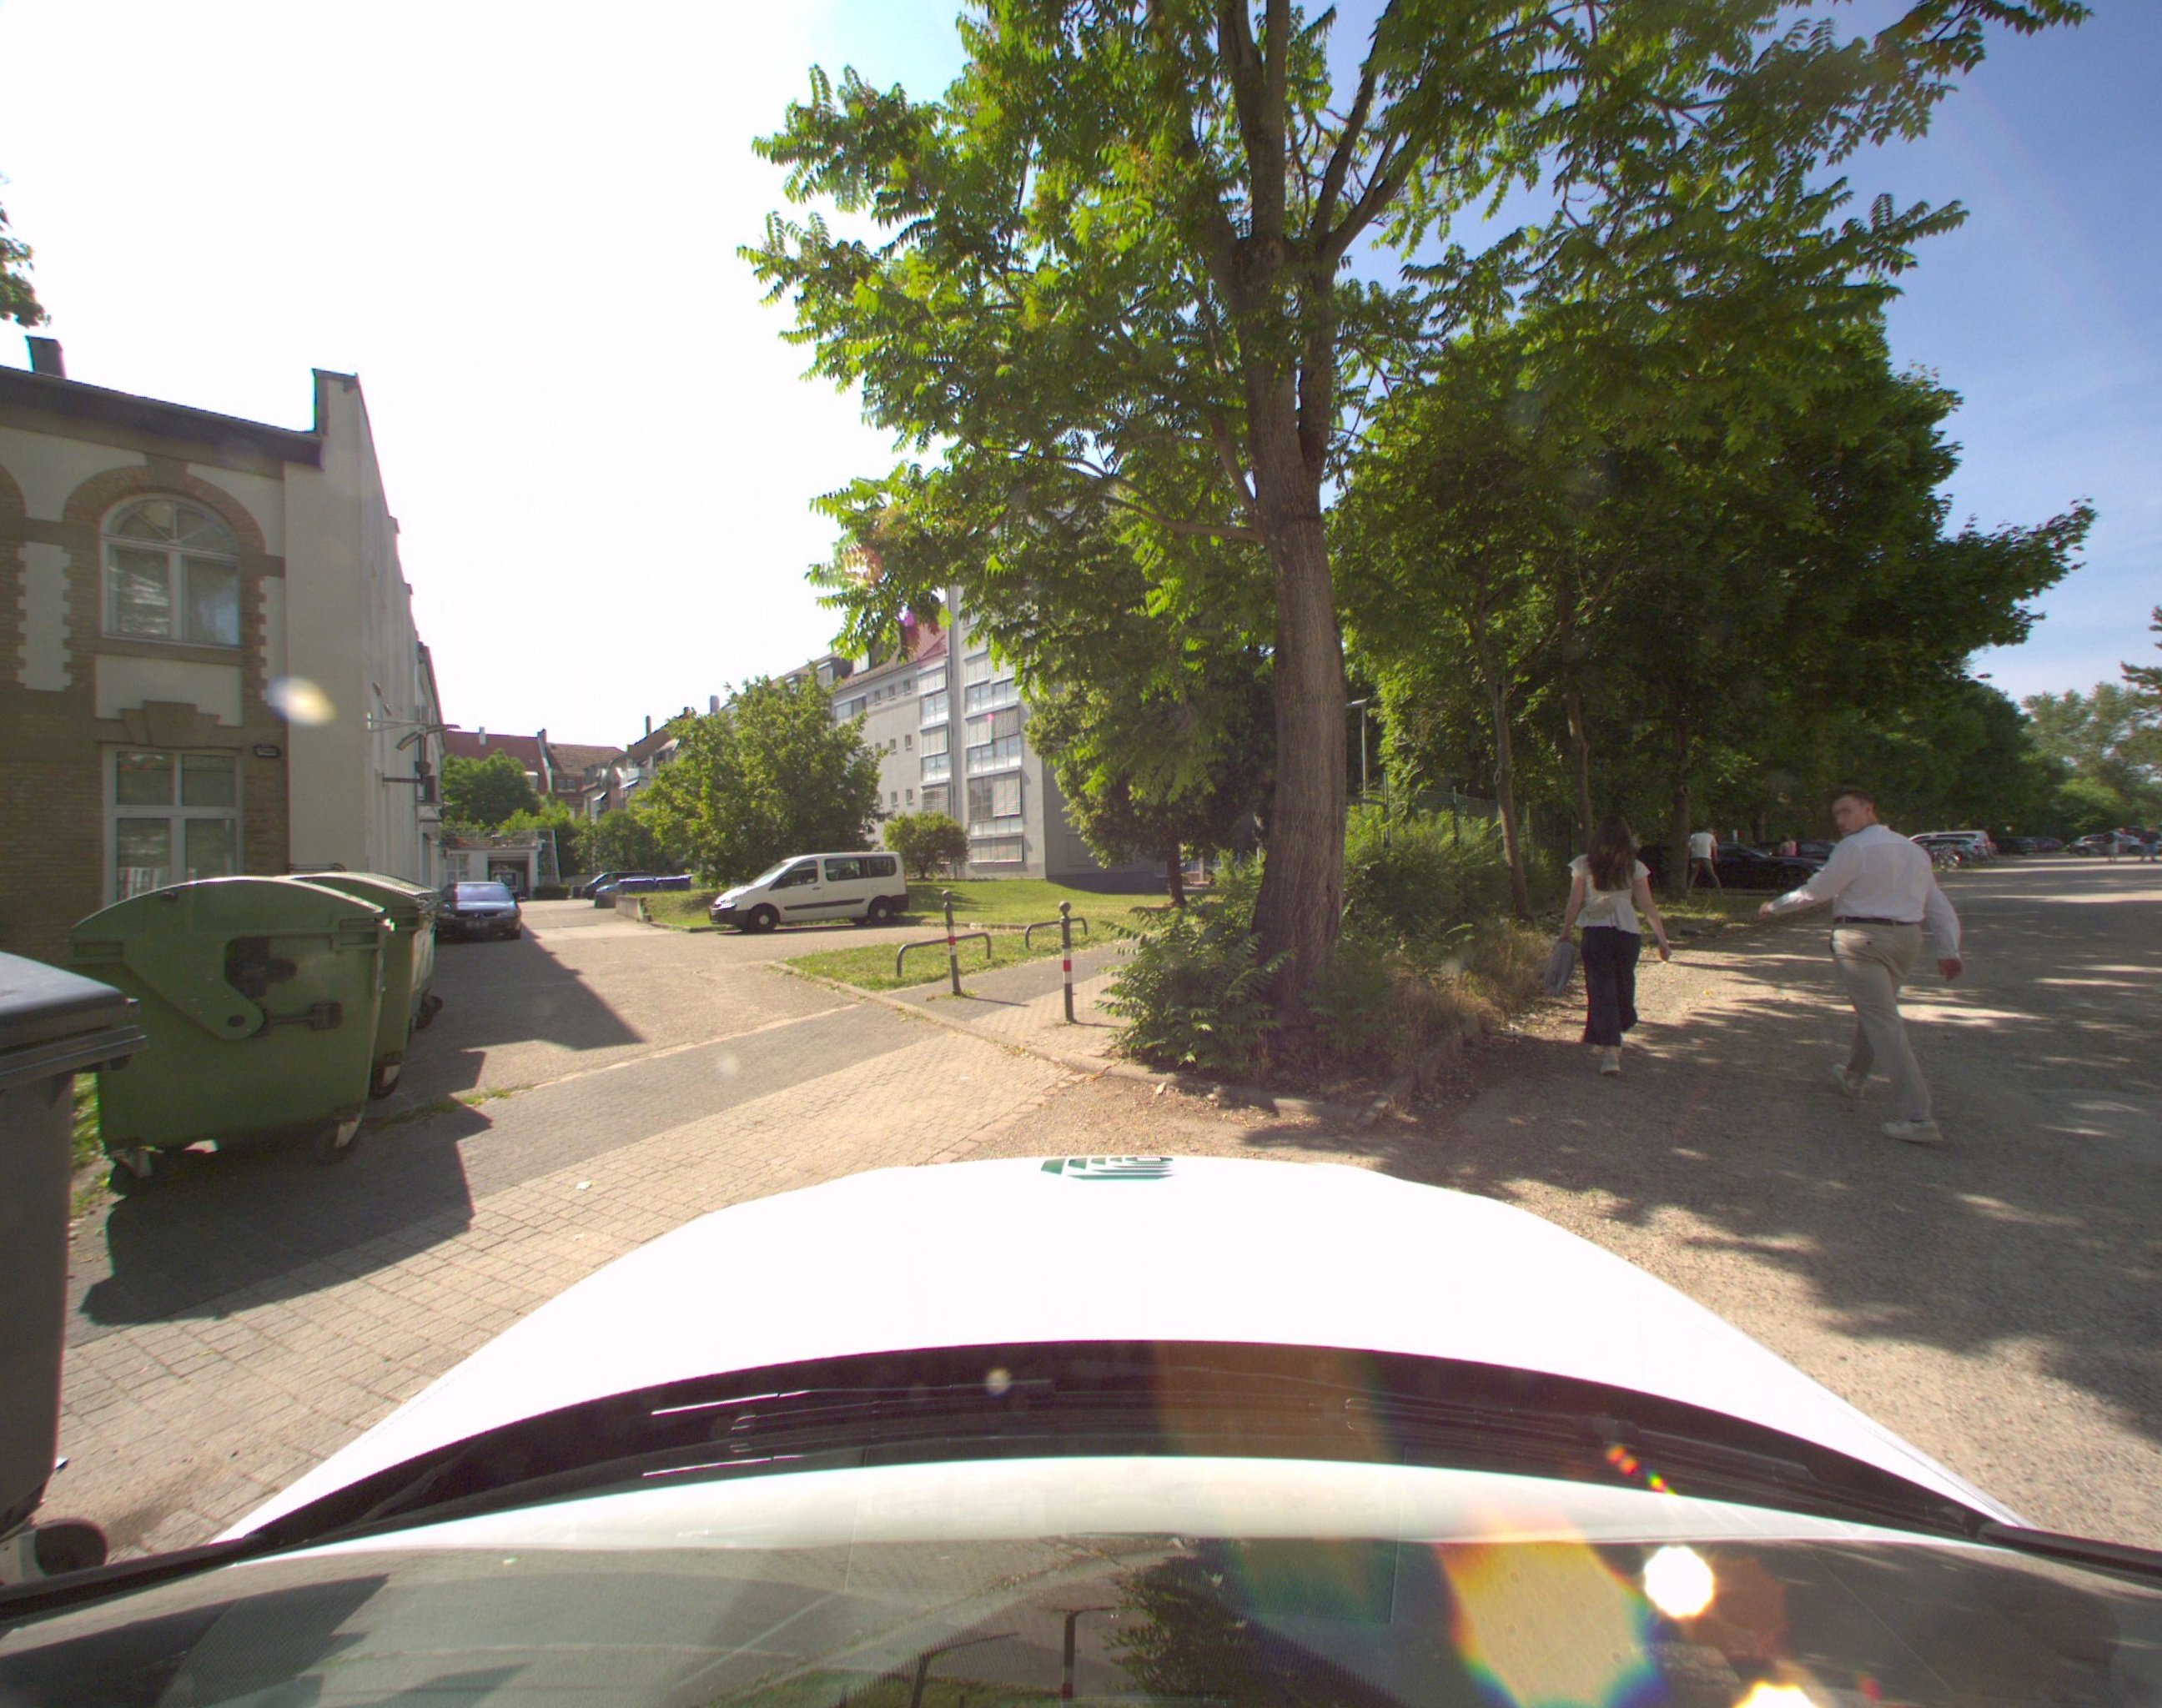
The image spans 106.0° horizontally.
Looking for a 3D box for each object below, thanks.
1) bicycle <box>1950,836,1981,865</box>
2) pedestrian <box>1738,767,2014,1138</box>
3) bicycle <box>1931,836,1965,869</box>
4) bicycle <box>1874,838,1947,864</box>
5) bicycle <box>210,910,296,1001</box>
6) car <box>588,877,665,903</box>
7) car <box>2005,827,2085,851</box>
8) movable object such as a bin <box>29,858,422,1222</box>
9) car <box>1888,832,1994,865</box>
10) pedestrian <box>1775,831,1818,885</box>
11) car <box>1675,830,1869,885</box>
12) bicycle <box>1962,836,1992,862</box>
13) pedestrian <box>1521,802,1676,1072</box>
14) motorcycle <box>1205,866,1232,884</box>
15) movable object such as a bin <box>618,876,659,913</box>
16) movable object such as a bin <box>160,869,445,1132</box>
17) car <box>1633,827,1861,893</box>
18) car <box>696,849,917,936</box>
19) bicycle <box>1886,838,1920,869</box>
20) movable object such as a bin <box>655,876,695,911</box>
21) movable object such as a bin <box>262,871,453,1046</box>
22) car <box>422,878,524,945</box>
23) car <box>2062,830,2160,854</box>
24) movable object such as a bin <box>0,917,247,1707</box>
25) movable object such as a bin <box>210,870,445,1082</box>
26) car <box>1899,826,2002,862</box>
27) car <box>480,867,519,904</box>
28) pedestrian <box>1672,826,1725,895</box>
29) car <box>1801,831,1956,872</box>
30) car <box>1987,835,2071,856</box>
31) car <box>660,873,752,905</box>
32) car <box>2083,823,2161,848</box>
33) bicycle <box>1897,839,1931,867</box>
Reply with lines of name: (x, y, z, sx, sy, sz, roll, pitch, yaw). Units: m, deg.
bicycle: (40.191, -0.163, 37.011, 2.650, 1.284, 0.708, -1, -1, -38)
pedestrian: (4.138, 0.462, 4.330, 0.748, 1.728, 0.859, -2, 0, 23)
bicycle: (36.273, -0.072, 34.068, 2.697, 1.284, 0.708, -1, -1, -38)
bicycle: (43.518, -0.148, 42.749, 0.823, 1.284, 2.651, -1, -1, -43)
bicycle: (-10.694, 1.268, 10.555, 0.448, 0.992, 1.613, -2, 0, -34)
car: (-31.282, 2.439, 56.076, 4.265, 1.532, 1.976, -3, 1, -41)
car: (88.510, -1.326, 74.831, 2.006, 2.014, 4.448, -1, -1, -30)
movable object such as a bin: (-4.359, 0.794, 4.307, 1.255, 1.481, 1.322, -1, -1, -43)
car: (49.701, -0.281, 47.141, 1.775, 1.772, 3.957, -2, 0, -35)
pedestrian: (21.699, 0.115, 24.699, 0.916, 1.595, 0.790, -2, 0, 44)
car: (22.188, 0.127, 26.273, 4.612, 1.584, 2.012, -2, 1, 44)
bicycle: (46.017, -0.266, 41.795, 2.759, 1.284, 0.809, -1, 0, -38)
pedestrian: (3.421, 0.507, 5.461, 0.729, 1.640, 0.785, -2, 0, 24)
motorcycle: (9.974, 1.516, 58.879, 2.072, 1.246, 0.623, -1, -1, -36)
movable object such as a bin: (-17.645, 1.620, 32.488, 1.257, 1.319, 1.130, -4, -1, -35)
movable object such as a bin: (-5.175, 0.848, 5.433, 1.208, 1.431, 1.256, -3, -1, 42)
car: (17.949, 0.164, 22.094, 4.612, 1.584, 2.012, -2, 1, 44)
car: (-7.031, 0.906, 21.163, 5.063, 1.933, 1.978, -1, -1, -36)
bicycle: (36.039, -0.031, 35.682, 2.804, 1.284, 0.708, -1, -1, -38)
movable object such as a bin: (-16.548, 1.609, 33.179, 1.256, 1.340, 1.130, -2, -1, -35)
movable object such as a bin: (-6.814, 0.905, 7.788, 1.254, 1.431, 1.334, -1, -1, -38)
car: (-15.153, 1.415, 20.282, 1.851, 1.442, 4.379, 1, -4, -38)
car: (69.394, -0.806, 54.971, 1.542, 1.506, 4.000, -2, 0, 0)
movable object such as a bin: (-2.521, 0.866, 1.222, 1.248, 1.397, 1.395, -2, -1, -19)
movable object such as a bin: (-5.949, 0.871, 6.569, 1.254, 1.431, 1.350, -1, -1, -38)
car: (52.138, -0.569, 48.908, 1.775, 2.013, 3.957, -2, 0, -35)
car: (-44.366, 2.413, 62.053, 2.191, 2.607, 6.658, -2, -1, -37)
pedestrian: (16.448, 0.184, 21.690, 1.004, 1.781, 0.825, -2, -1, 44)
car: (32.190, -0.076, 32.974, 1.902, 1.524, 4.250, -2, 0, -39)
car: (73.139, -0.633, 62.866, 1.659, 1.452, 3.961, -1, 0, -30)
car: (-19.607, 1.813, 42.638, 4.021, 1.427, 1.790, -2, -1, -40)
car: (76.815, -1.359, 59.945, 1.774, 1.684, 4.015, -2, 0, 14)
bicycle: (39.577, -0.068, 38.681, 2.697, 1.284, 0.809, -1, -1, -38)
